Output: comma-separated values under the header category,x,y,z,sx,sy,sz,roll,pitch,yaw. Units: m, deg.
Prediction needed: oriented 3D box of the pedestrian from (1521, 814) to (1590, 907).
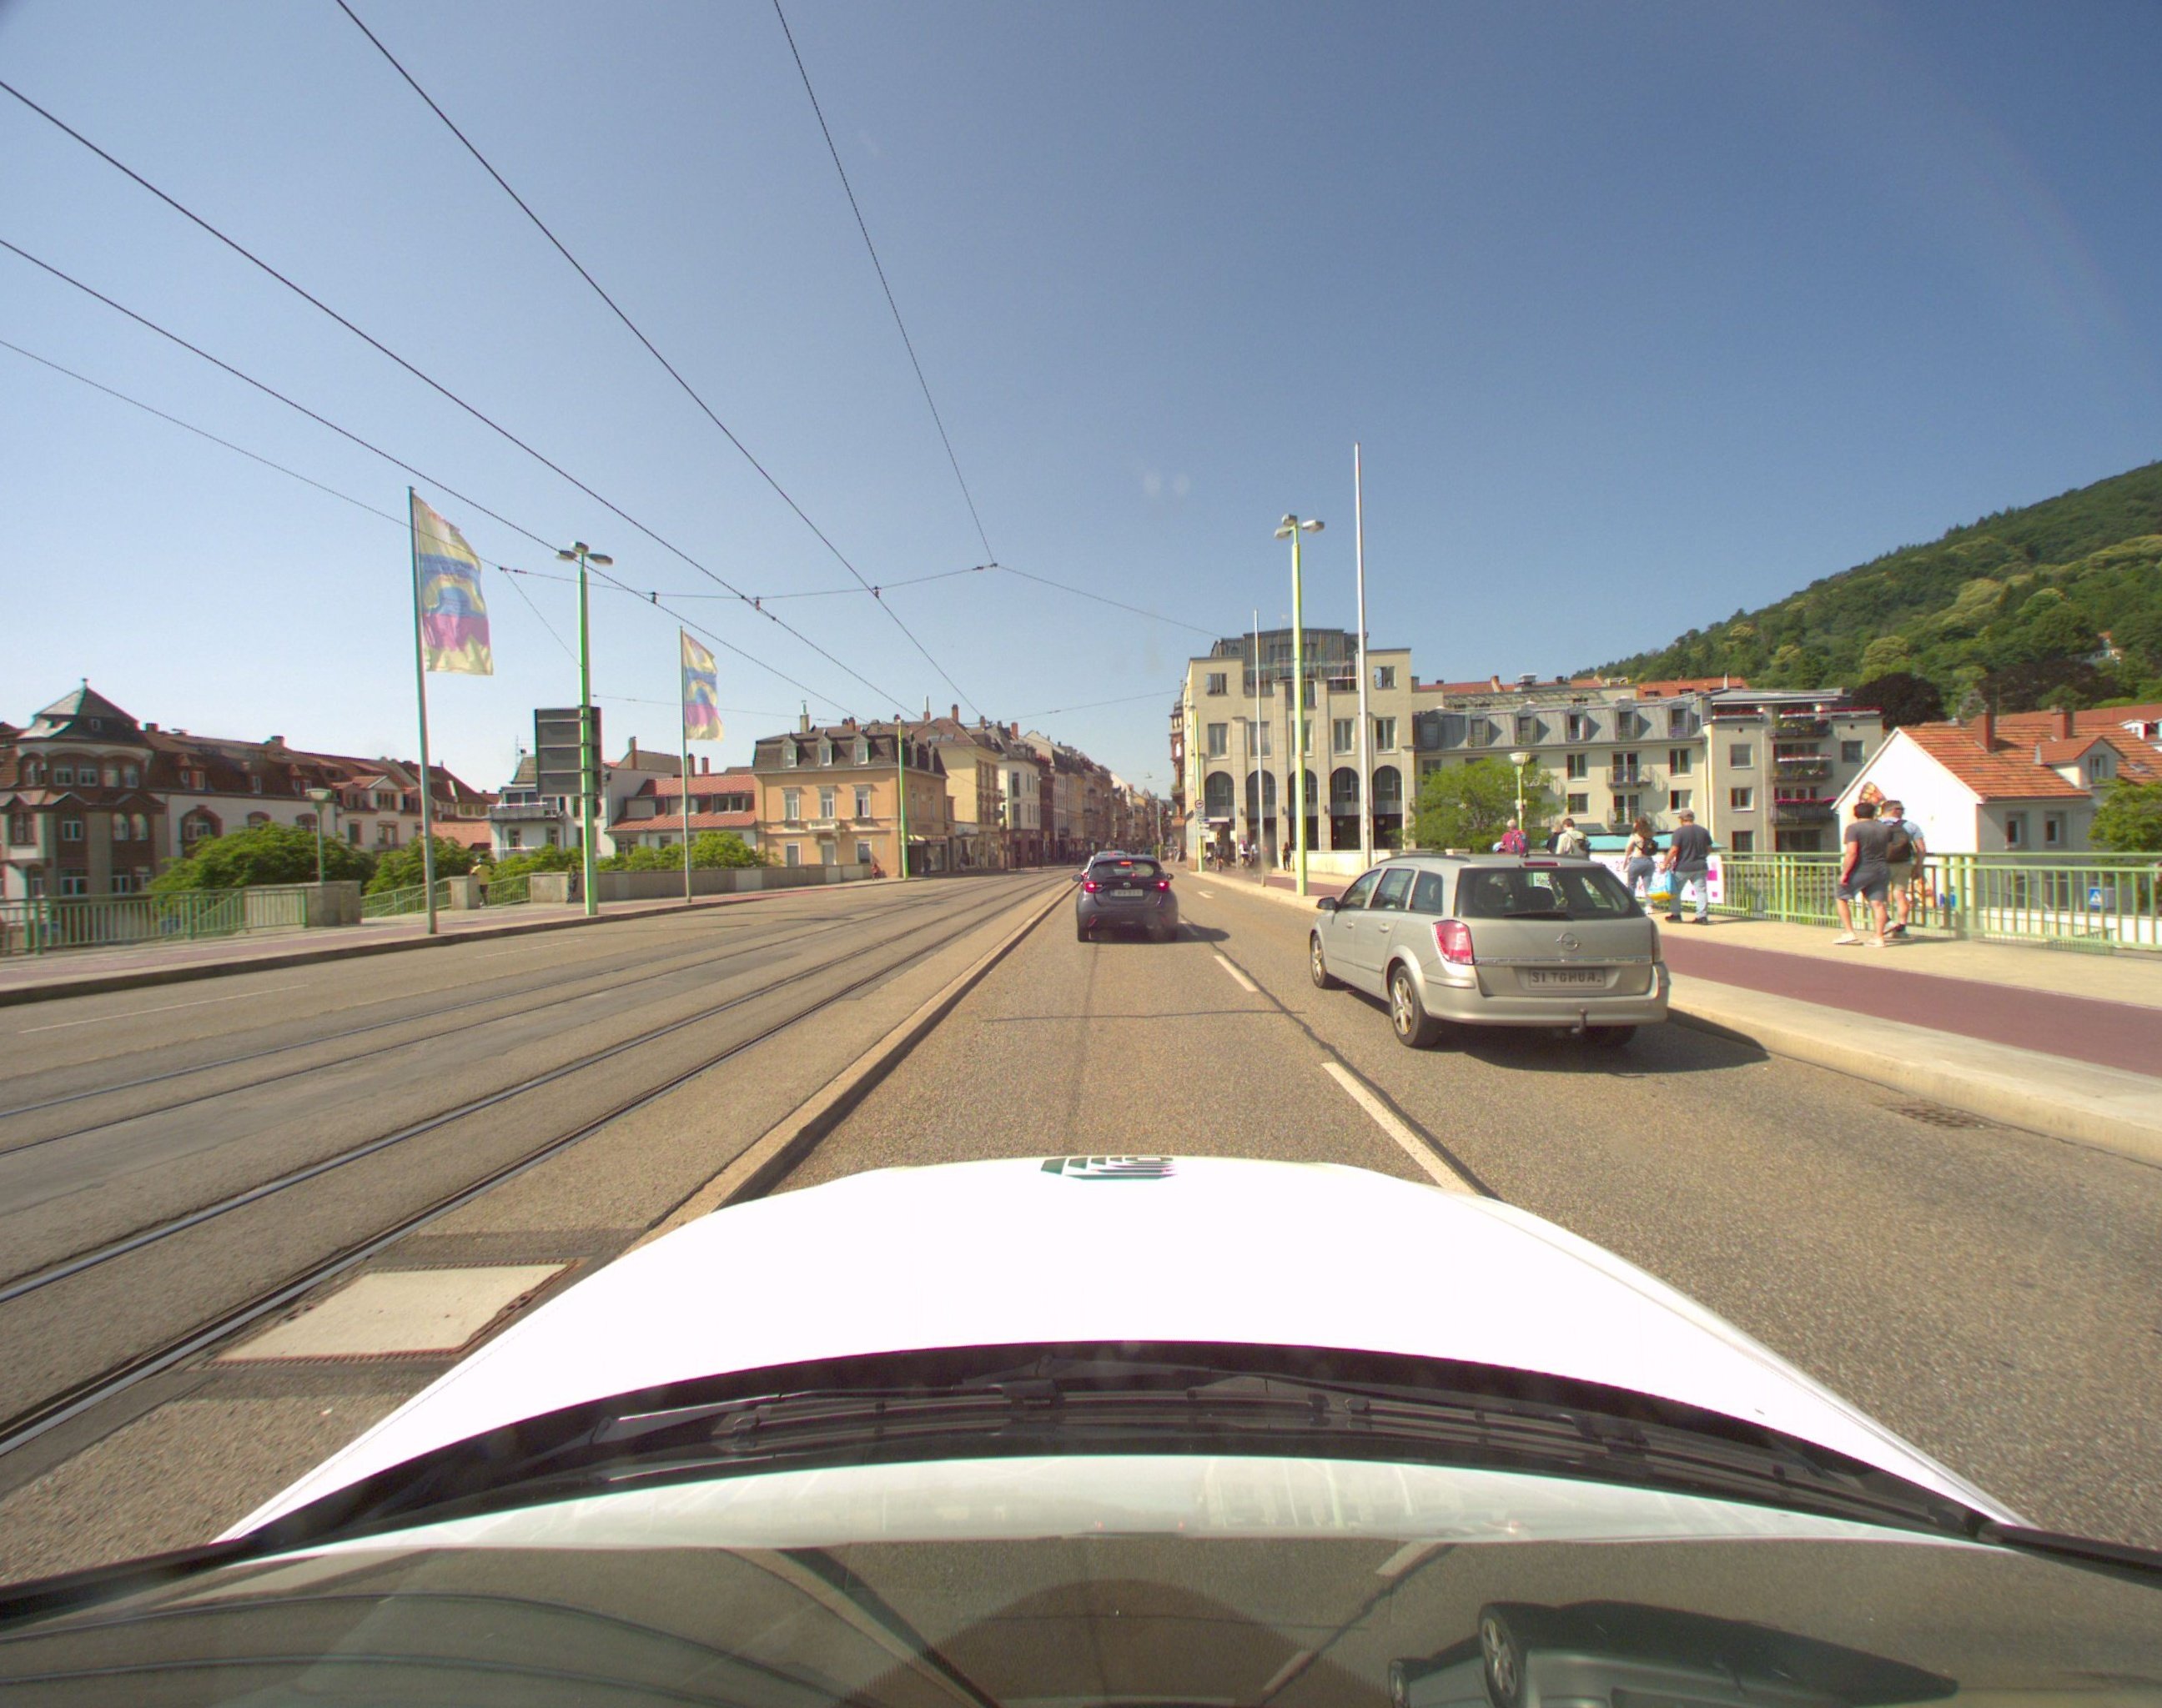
category,x,y,z,sx,sy,sz,roll,pitch,yaw
pedestrian,9.529,0.125,16.392,0.736,1.777,1.016,-3,0,2

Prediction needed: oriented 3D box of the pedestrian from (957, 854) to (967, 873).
category,x,y,z,sx,sy,sz,roll,pitch,yaw
pedestrian,-10.371,0.823,70.895,0.646,1.602,0.566,3,2,2

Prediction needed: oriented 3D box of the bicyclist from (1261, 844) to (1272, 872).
category,x,y,z,sx,sy,sz,roll,pitch,yaw
bicyclist,9.546,0.199,41.972,0.420,1.383,0.444,-3,0,2

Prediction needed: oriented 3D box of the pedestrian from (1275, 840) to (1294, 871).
category,x,y,z,sx,sy,sz,roll,pitch,yaw
pedestrian,11.096,0.073,44.350,0.736,1.615,1.016,3,0,2

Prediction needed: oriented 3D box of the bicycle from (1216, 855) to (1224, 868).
category,x,y,z,sx,sy,sz,roll,pitch,yaw
bicycle,8.586,0.459,50.302,0.414,0.765,1.208,-3,0,9

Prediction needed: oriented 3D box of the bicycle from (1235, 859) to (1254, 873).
category,x,y,z,sx,sy,sz,roll,pitch,yaw
bicycle,8.902,0.655,44.397,0.419,0.765,0.951,-3,0,-37

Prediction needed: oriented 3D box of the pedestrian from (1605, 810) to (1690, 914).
category,x,y,z,sx,sy,sz,roll,pitch,yaw
pedestrian,10.058,0.137,14.501,0.736,1.746,1.016,-3,0,2

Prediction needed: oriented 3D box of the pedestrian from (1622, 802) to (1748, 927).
category,x,y,z,sx,sy,sz,roll,pitch,yaw
pedestrian,9.284,0.152,12.581,0.974,1.777,1.208,-3,0,2

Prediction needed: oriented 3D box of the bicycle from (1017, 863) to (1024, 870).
category,x,y,z,sx,sy,sz,roll,pitch,yaw
bicycle,-6.519,1.363,87.712,0.618,0.716,1.772,-1,1,2

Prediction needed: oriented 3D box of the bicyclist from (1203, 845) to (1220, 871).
category,x,y,z,sx,sy,sz,roll,pitch,yaw
bicyclist,13.215,0.371,82.676,1.230,2.529,1.099,3,0,-16

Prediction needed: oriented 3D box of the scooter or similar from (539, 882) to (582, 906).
category,x,y,z,sx,sy,sz,roll,pitch,yaw
scooter or similar,-18.363,1.408,28.756,0.774,0.782,0.964,2,0,13

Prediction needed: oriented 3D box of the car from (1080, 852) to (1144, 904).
category,x,y,z,sx,sy,sz,roll,pitch,yaw
car,0.981,0.695,26.011,1.890,1.530,4.002,0,0,2

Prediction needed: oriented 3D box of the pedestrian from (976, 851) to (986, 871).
category,x,y,z,sx,sy,sz,roll,pitch,yaw
pedestrian,-9.308,0.647,75.724,0.733,1.766,0.787,3,0,2

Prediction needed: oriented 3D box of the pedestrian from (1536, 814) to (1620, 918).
category,x,y,z,sx,sy,sz,roll,pitch,yaw
pedestrian,8.676,0.200,14.270,0.751,1.718,1.073,-3,0,2

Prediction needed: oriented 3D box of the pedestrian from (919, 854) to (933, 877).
category,x,y,z,sx,sy,sz,roll,pitch,yaw
pedestrian,-11.421,0.829,60.168,0.758,1.654,0.713,3,0,8

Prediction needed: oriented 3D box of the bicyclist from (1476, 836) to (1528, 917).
category,x,y,z,sx,sy,sz,roll,pitch,yaw
bicyclist,7.490,0.388,14.504,0.532,1.383,0.669,-3,0,2

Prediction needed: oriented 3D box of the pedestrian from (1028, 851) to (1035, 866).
category,x,y,z,sx,sy,sz,roll,pitch,yaw
pedestrian,-5.941,0.490,98.656,0.733,1.766,0.787,-1,1,2

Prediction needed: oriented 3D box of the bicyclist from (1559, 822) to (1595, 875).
category,x,y,z,sx,sy,sz,roll,pitch,yaw
bicyclist,16.463,-0.183,27.056,0.913,1.695,1.150,-3,0,29

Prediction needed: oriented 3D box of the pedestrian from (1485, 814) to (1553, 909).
category,x,y,z,sx,sy,sz,roll,pitch,yaw
pedestrian,8.755,0.145,16.320,0.736,1.802,1.016,-3,0,2

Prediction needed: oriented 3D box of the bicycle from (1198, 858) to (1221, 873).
category,x,y,z,sx,sy,sz,roll,pitch,yaw
bicycle,13.079,1.140,82.735,1.114,1.420,2.991,3,0,-16

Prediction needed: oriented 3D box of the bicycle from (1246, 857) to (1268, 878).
category,x,y,z,sx,sy,sz,roll,pitch,yaw
bicycle,7.785,0.599,36.109,0.701,0.882,1.527,-3,0,3

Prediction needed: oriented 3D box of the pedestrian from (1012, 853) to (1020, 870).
category,x,y,z,sx,sy,sz,roll,pitch,yaw
pedestrian,-7.043,0.778,88.128,0.733,1.766,0.788,-1,1,2

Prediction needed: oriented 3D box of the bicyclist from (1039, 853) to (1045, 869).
category,x,y,z,sx,sy,sz,roll,pitch,yaw
bicyclist,-4.288,0.771,88.983,0.625,1.650,0.622,0,1,3

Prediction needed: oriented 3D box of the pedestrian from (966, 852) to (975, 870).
category,x,y,z,sx,sy,sz,roll,pitch,yaw
pedestrian,-10.391,0.661,76.657,0.646,1.602,0.566,3,2,2

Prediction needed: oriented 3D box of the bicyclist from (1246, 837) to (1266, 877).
category,x,y,z,sx,sy,sz,roll,pitch,yaw
bicyclist,7.751,0.133,36.095,0.699,1.695,0.925,-2,0,3

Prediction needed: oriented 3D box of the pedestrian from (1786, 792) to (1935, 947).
category,x,y,z,sx,sy,sz,roll,pitch,yaw
pedestrian,9.253,0.177,9.718,0.736,1.718,1.016,-3,0,2

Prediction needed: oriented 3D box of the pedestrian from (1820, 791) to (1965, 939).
category,x,y,z,sx,sy,sz,roll,pitch,yaw
pedestrian,10.049,0.134,10.129,0.736,1.718,1.016,-2,0,2

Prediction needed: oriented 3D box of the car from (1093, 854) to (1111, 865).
category,x,y,z,sx,sy,sz,roll,pitch,yaw
car,2.911,0.696,111.923,1.719,1.460,4.388,-2,0,12

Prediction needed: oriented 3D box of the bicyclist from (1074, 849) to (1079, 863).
category,x,y,z,sx,sy,sz,roll,pitch,yaw
bicyclist,-0.527,0.251,102.435,0.625,1.650,0.622,0,1,3

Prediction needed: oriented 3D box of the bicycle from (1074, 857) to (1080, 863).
category,x,y,z,sx,sy,sz,roll,pitch,yaw
bicycle,-0.526,0.737,102.520,0.618,0.716,1.732,0,1,2

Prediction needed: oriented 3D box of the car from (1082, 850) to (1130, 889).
category,x,y,z,sx,sy,sz,roll,pitch,yaw
car,1.049,0.611,34.205,1.890,1.530,4.002,0,0,2

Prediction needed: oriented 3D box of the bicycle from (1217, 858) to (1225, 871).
category,x,y,z,sx,sy,sz,roll,pitch,yaw
bicycle,9.233,0.686,53.860,0.414,0.765,0.963,-3,0,5

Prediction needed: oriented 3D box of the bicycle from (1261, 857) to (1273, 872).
category,x,y,z,sx,sy,sz,roll,pitch,yaw
bicycle,9.564,0.540,41.946,0.415,0.765,0.962,-3,0,2

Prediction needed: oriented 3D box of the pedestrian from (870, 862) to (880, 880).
category,x,y,z,sx,sy,sz,roll,pitch,yaw
pedestrian,-13.600,1.116,53.801,0.409,1.146,0.546,3,0,9

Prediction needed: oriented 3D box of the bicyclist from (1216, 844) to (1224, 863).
category,x,y,z,sx,sy,sz,roll,pitch,yaw
bicyclist,9.182,-0.042,53.901,0.420,1.256,0.444,-3,0,5

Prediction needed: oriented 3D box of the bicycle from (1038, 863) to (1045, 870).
category,x,y,z,sx,sy,sz,roll,pitch,yaw
bicycle,-4.286,1.325,89.004,0.618,0.716,1.772,0,1,2

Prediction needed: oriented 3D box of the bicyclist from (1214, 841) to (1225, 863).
category,x,y,z,sx,sy,sz,roll,pitch,yaw
bicyclist,8.544,-0.105,50.249,0.535,1.316,0.673,-3,0,8

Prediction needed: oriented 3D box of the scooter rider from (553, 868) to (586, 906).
category,x,y,z,sx,sy,sz,roll,pitch,yaw
scooter rider,-18.238,1.159,29.043,0.763,1.315,0.600,2,0,13

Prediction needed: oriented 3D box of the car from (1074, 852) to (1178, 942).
category,x,y,z,sx,sy,sz,roll,pitch,yaw
car,0.809,0.710,15.308,1.713,1.473,3.660,0,0,2

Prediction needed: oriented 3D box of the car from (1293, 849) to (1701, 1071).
category,x,y,z,sx,sy,sz,roll,pitch,yaw
car,3.311,0.700,7.548,1.699,1.466,4.328,0,0,2

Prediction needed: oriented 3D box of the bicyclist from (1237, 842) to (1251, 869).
category,x,y,z,sx,sy,sz,roll,pitch,yaw
bicyclist,8.869,0.075,44.398,0.487,1.466,0.438,-3,0,-37

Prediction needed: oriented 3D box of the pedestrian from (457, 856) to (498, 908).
category,x,y,z,sx,sy,sz,roll,pitch,yaw
pedestrian,-21.163,0.962,28.555,0.742,1.781,0.803,-2,0,5
